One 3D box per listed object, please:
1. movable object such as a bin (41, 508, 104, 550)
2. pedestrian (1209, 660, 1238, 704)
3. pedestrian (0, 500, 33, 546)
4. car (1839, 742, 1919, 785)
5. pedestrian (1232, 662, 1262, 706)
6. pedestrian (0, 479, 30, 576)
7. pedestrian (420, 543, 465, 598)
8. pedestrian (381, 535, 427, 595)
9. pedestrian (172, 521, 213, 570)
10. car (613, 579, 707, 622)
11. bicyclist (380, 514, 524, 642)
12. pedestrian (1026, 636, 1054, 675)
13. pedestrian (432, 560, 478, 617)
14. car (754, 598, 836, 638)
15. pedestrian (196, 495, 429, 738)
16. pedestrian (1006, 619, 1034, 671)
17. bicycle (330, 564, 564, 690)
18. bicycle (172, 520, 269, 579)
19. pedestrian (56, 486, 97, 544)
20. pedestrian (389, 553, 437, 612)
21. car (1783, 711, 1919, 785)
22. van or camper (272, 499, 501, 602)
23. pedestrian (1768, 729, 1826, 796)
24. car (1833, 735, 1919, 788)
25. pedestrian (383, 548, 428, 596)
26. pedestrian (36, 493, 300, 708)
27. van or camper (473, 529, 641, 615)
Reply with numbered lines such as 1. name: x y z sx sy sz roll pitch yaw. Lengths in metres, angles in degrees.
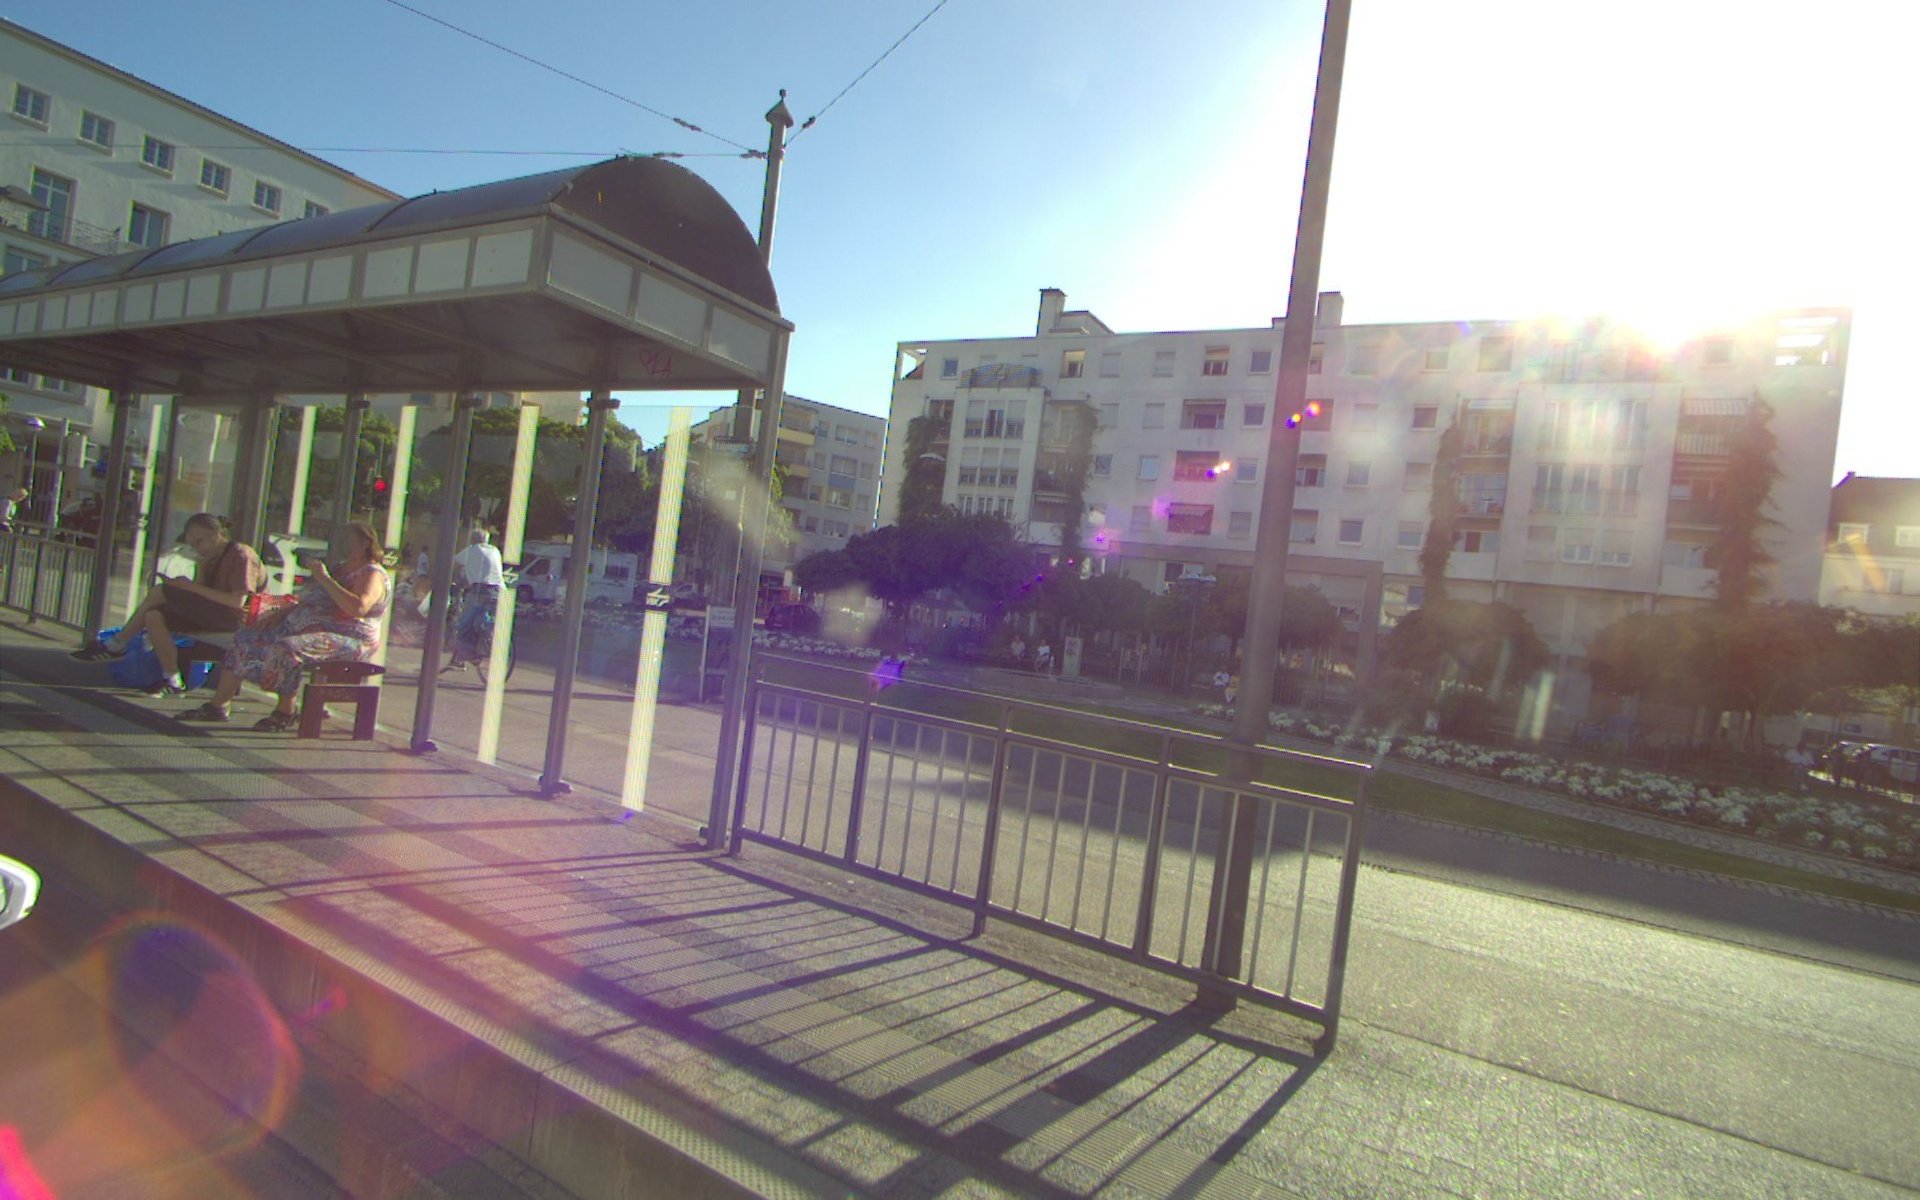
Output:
1. movable object such as a bin: -29.288 -2.343 33.202 1.197 1.166 1.200 7 -1 32
2. pedestrian: 8.386 2.594 32.058 0.718 1.287 0.745 7 0 11
3. pedestrian: -29.181 -2.369 30.972 0.736 1.331 0.622 8 0 -35
4. car: 38.787 6.801 41.196 3.941 1.303 1.993 7 -1 38
5. pedestrian: 9.094 2.654 31.907 0.718 1.287 0.745 7 0 11
6. pedestrian: -18.074 -1.381 18.974 0.520 1.765 0.557 6 -2 42
7. pedestrian: -16.294 -0.930 31.706 0.651 1.604 0.902 7 -1 35
8. pedestrian: -17.072 -1.066 30.892 0.685 1.705 0.901 7 0 38
9. pedestrian: -25.450 -1.801 33.360 0.742 1.426 0.731 11 1 32
10. car: -15.033 0.045 50.554 1.974 1.528 3.982 6 -3 43
11. bicyclist: -5.738 -0.226 11.424 0.916 1.239 0.955 8 -2 10
12. pedestrian: 2.845 1.951 35.525 0.718 1.287 1.042 7 -1 11
13. pedestrian: -15.384 -0.353 30.654 0.651 1.604 0.902 7 -1 35
14. car: -7.914 0.894 48.746 1.964 1.503 4.001 7 -1 23
15. pedestrian: -3.989 0.122 6.239 0.613 1.348 0.861 6 -4 32
16. pedestrian: 2.154 1.601 35.780 0.661 1.745 1.028 7 0 11
17. bicycle: -5.821 0.310 11.444 2.279 1.073 0.722 8 -2 10
18. bicycle: -24.934 -1.676 33.975 0.714 1.548 2.391 7 -3 31
19. pedestrian: -30.691 -2.946 34.955 0.667 1.861 0.785 7 0 35
20. pedestrian: -16.181 -0.501 29.786 0.651 1.604 0.902 7 -1 35
21. car: 42.222 6.865 46.108 6.285 2.585 2.813 7 -1 28
22. van or camper: -21.672 -1.759 38.506 2.331 2.780 7.133 9 0 32
23. pedestrian: 20.438 3.945 24.564 0.923 1.428 1.521 7 -1 42
24. car: 35.309 6.128 37.470 3.941 1.535 1.993 7 -1 38
25. pedestrian: -16.689 -0.848 30.295 0.596 1.295 0.901 7 0 38
26. pedestrian: -5.311 0.022 6.783 0.908 1.238 1.001 6 -4 32
27. van or camper: -17.715 -1.154 44.626 2.340 2.873 6.411 7 -1 35
